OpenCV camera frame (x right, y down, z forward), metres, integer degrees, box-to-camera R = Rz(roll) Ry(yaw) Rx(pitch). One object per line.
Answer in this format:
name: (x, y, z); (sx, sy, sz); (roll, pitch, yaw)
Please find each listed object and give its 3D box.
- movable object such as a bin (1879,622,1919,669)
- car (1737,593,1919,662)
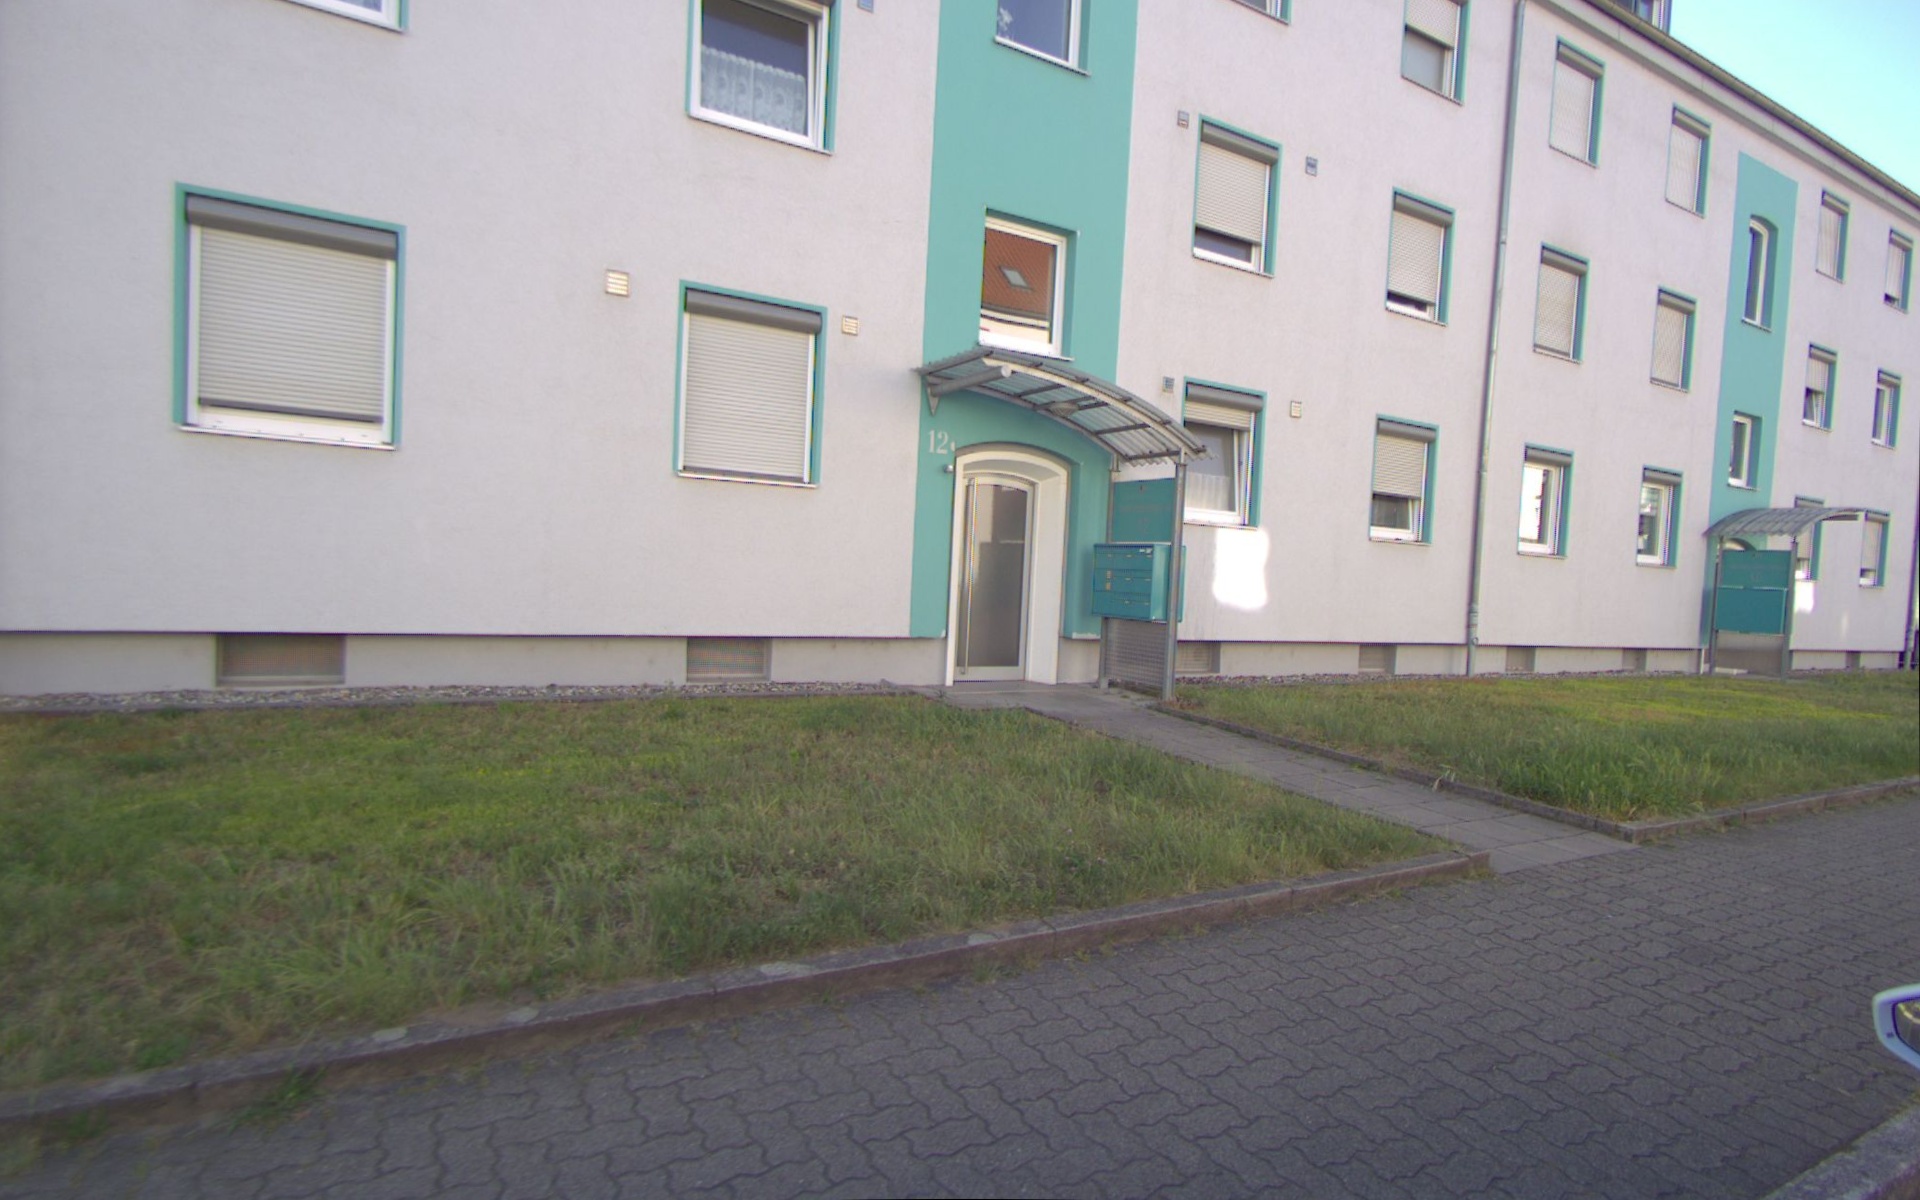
movable object such as a bin: (21.651, 1.037, 23.053); (0.707, 1.005, 0.609); (1, 3, -32)
car: (26.513, 0.798, 30.684); (1.699, 1.812, 3.971); (3, 0, -30)
